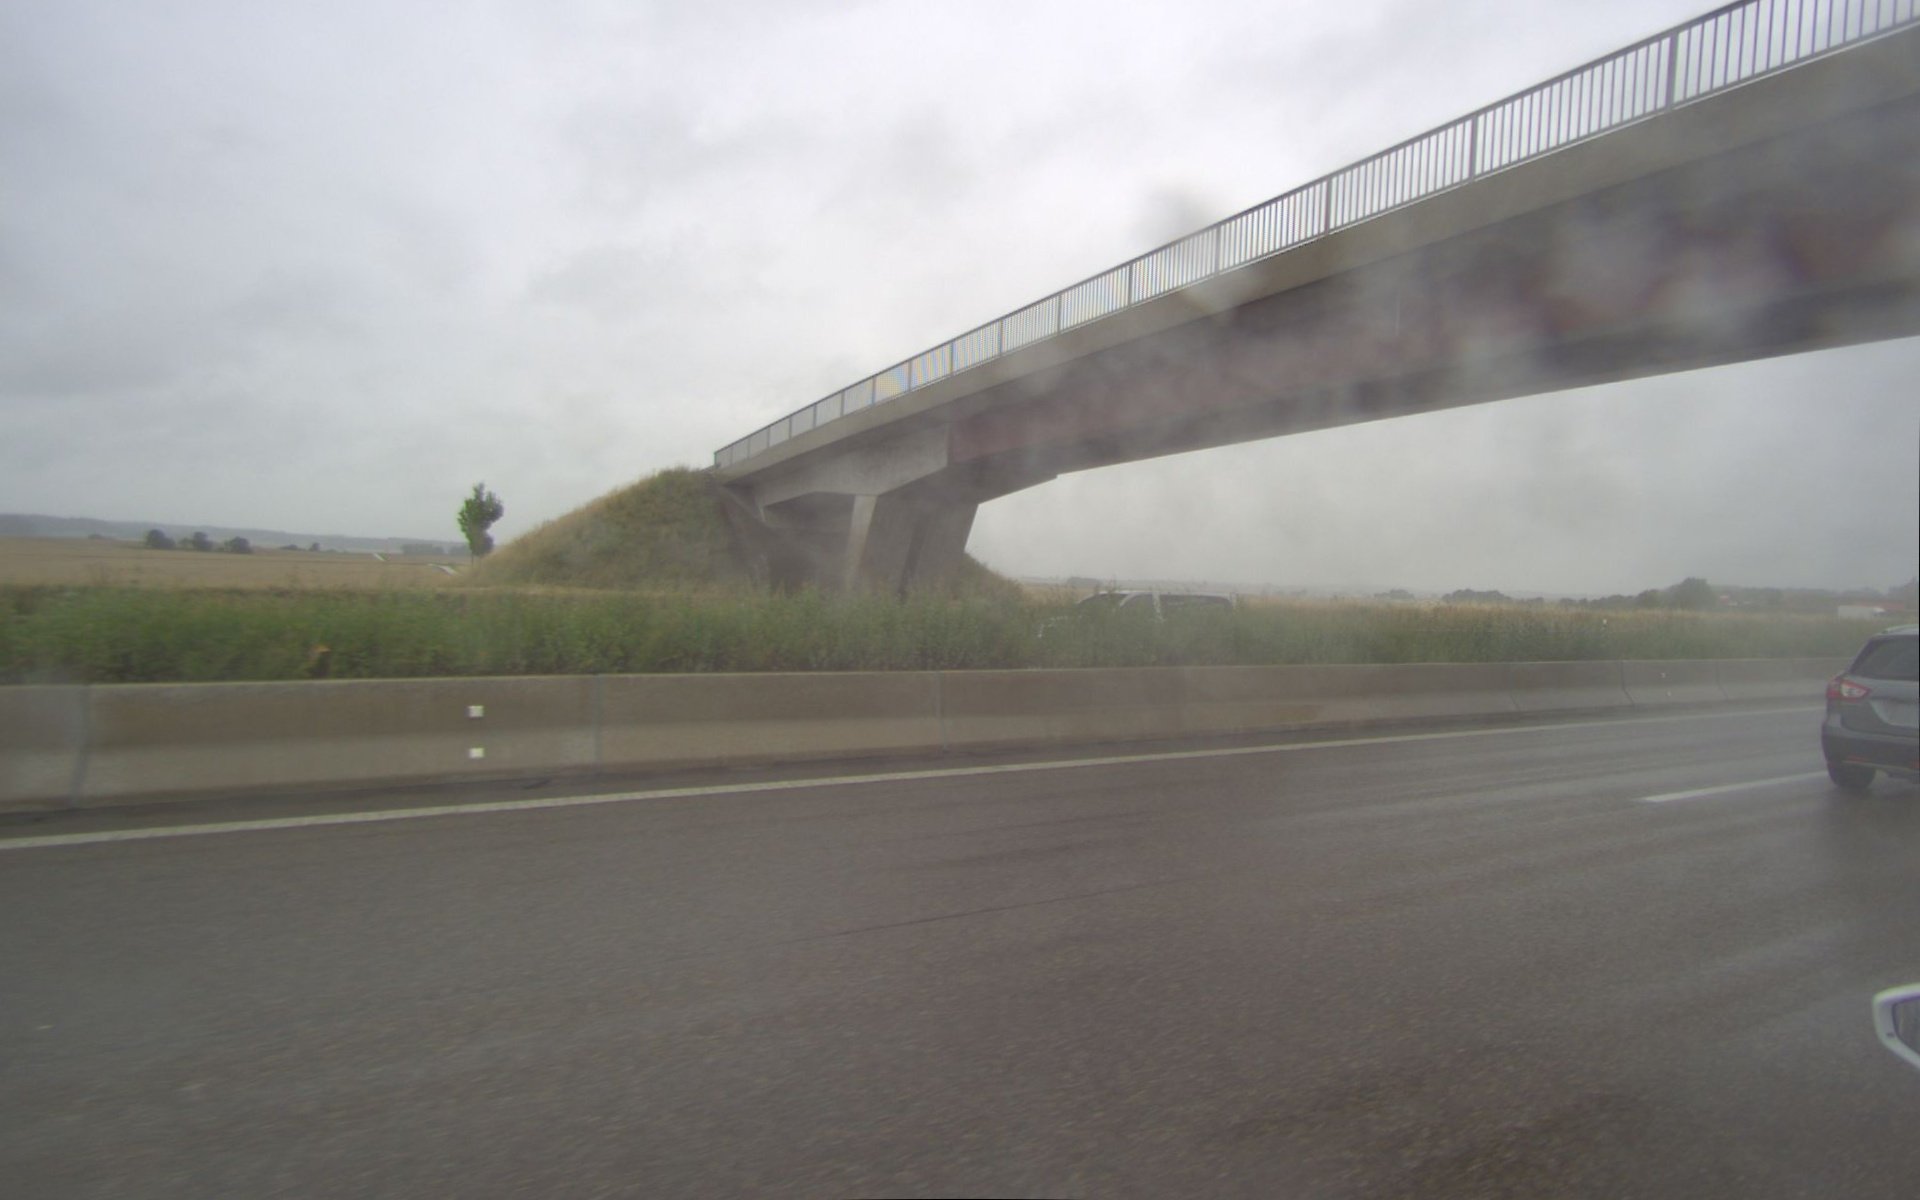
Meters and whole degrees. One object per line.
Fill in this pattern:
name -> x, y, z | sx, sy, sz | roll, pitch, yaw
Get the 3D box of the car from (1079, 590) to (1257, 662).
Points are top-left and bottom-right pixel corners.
car -> 4.961, 0.629, 23.812 | 4.099, 1.572, 1.637 | 2, 0, -31

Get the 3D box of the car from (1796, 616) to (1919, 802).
car -> 10.069, 0.973, 9.499 | 4.701, 1.533, 1.837 | 2, 0, -31
